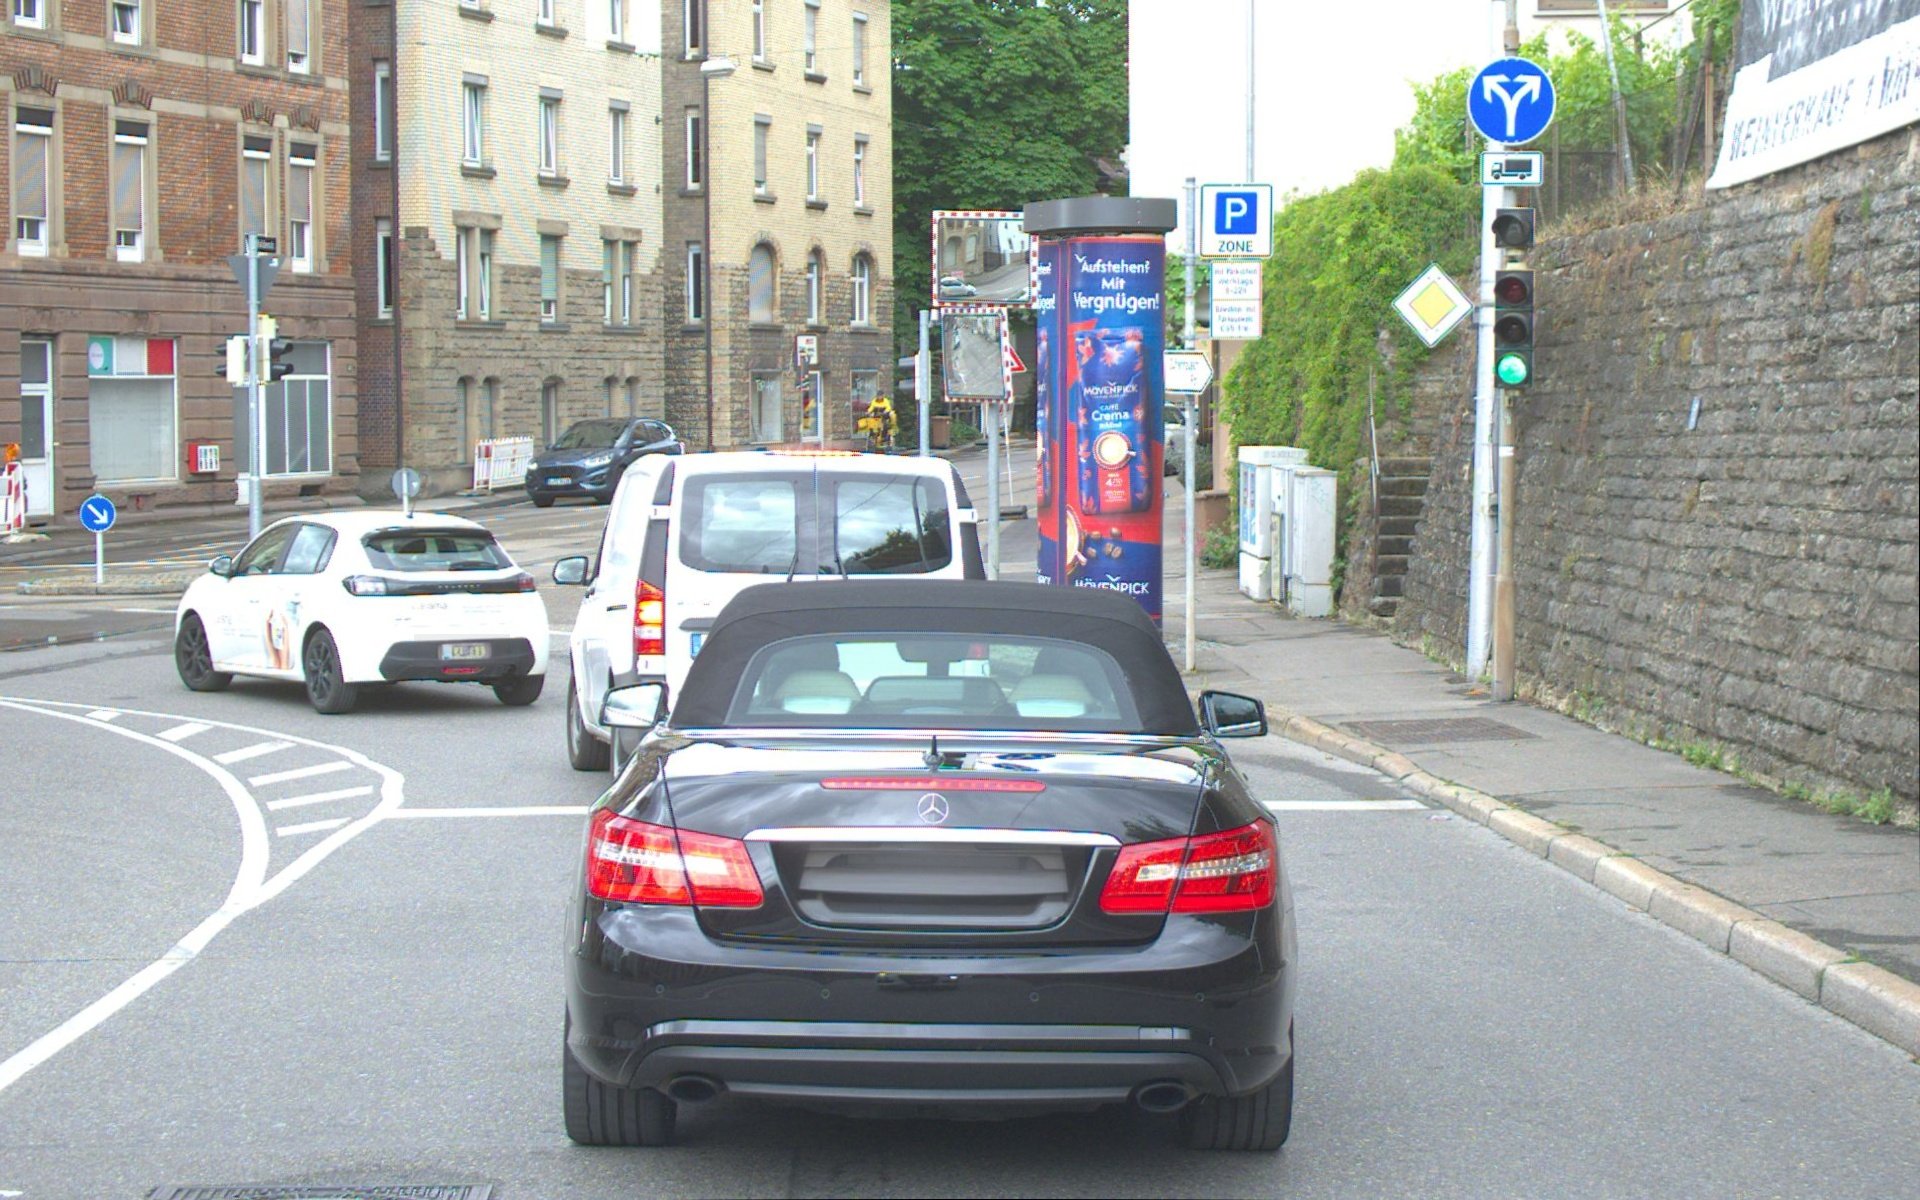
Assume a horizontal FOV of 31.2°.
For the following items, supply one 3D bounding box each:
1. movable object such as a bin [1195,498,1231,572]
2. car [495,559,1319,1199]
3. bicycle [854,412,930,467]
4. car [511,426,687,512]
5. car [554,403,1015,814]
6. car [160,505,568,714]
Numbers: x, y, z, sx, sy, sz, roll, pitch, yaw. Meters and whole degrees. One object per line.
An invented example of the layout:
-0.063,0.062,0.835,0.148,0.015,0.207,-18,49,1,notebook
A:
3.139,-0.806,42.675,0.343,0.908,0.495,0,1,-6,movable object such as a bin
-0.176,0.627,9.648,1.761,1.404,4.399,-1,1,-2,car
-1.746,-4.165,88.913,0.632,1.302,2.595,-2,3,31,bicycle
-7.019,-2.585,67.239,1.995,1.509,4.284,0,4,15,car
-1.120,0.041,19.163,1.891,1.922,4.646,3,0,-10,car
-4.647,0.034,26.403,1.681,1.461,3.918,-2,2,-33,car
